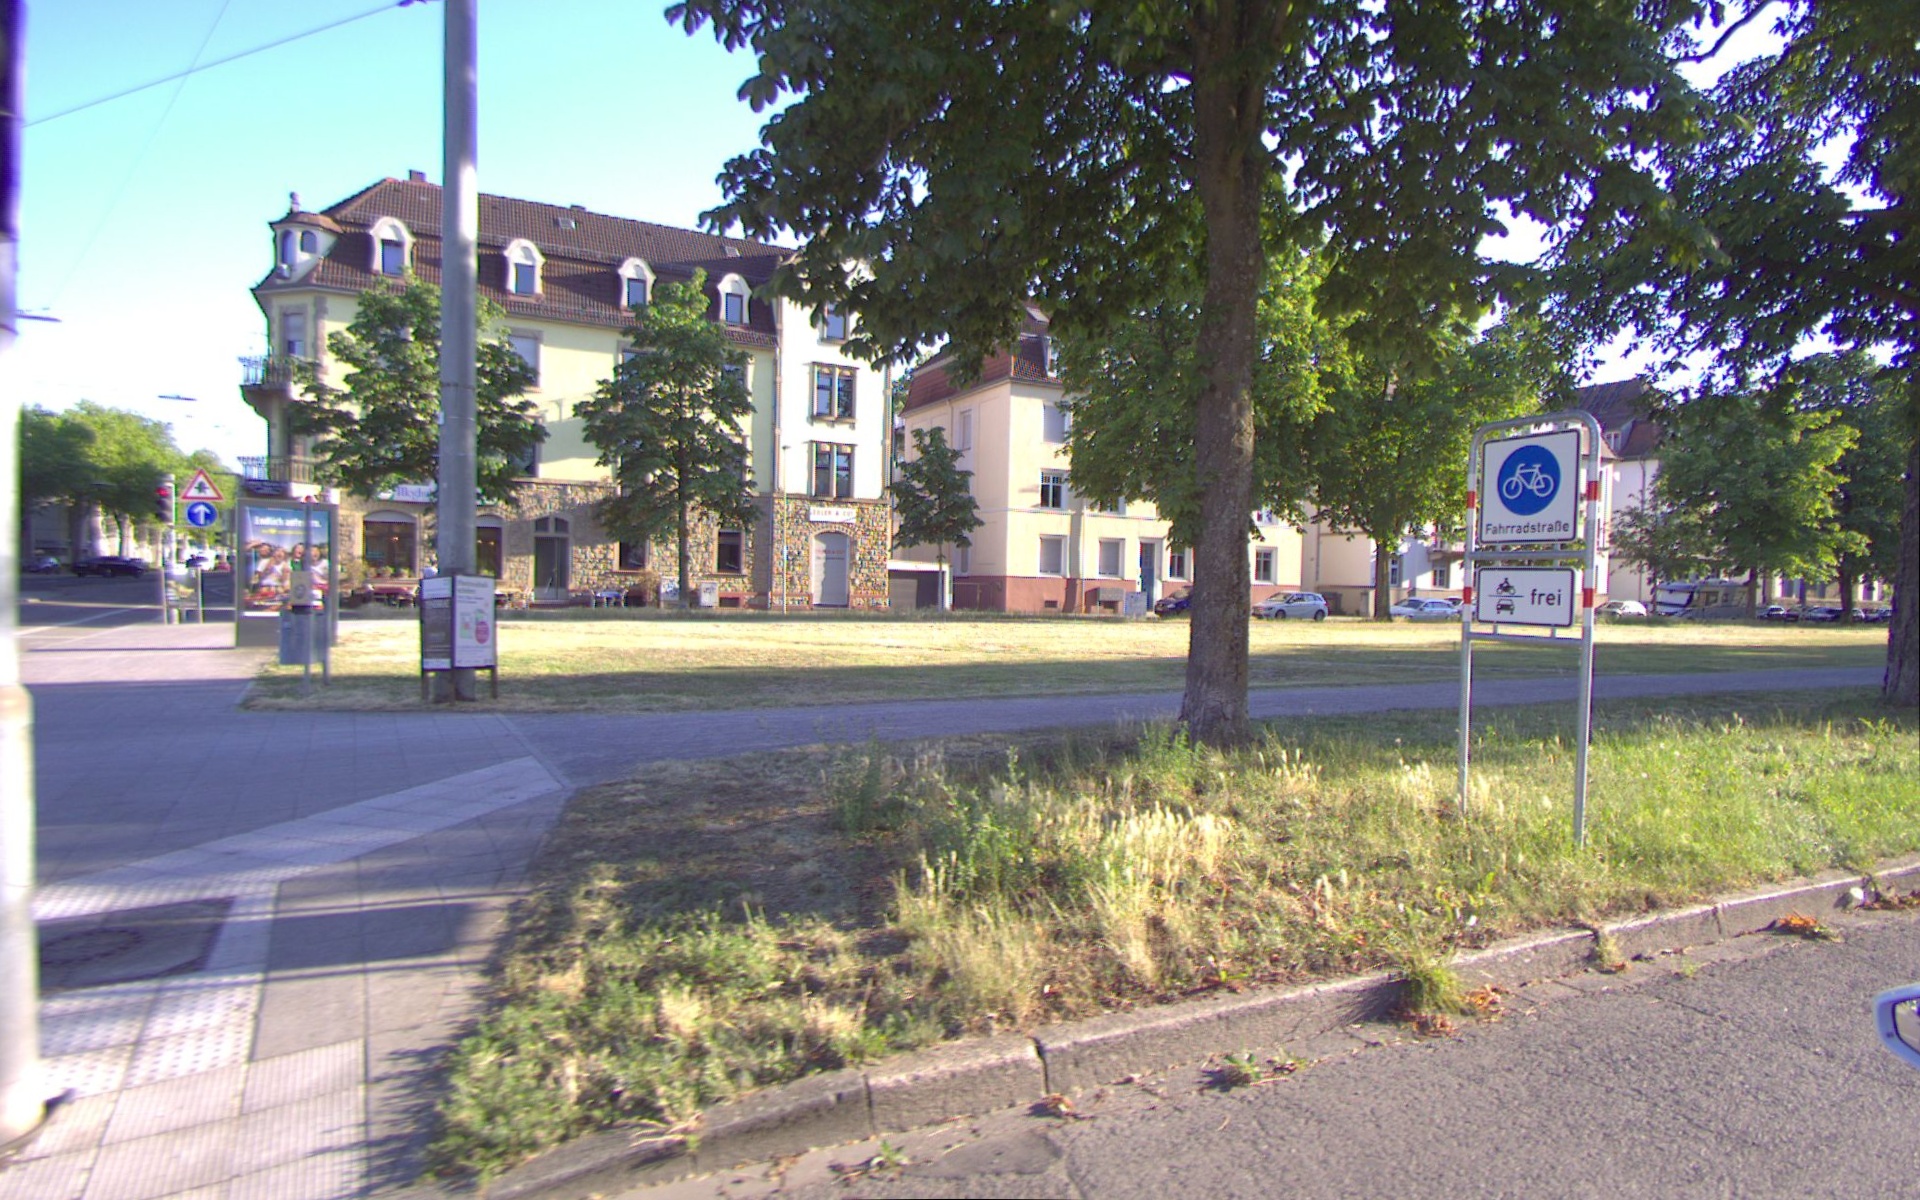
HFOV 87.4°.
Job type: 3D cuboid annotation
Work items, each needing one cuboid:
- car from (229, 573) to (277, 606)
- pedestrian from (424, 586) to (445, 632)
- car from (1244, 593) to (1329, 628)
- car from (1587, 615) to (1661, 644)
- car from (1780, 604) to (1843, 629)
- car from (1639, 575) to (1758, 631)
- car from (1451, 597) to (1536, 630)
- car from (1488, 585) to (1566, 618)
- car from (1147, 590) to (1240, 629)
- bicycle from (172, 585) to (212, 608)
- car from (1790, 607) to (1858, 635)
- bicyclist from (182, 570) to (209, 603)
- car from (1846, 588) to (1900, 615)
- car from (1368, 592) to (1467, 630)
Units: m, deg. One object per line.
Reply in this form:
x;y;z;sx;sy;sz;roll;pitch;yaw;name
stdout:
-43.317;-0.681;61.598;2.007;1.760;3.749;1;3;-29;car
-19.397;0.339;37.066;0.674;1.646;0.613;1;3;-28;pedestrian
17.504;0.578;53.851;3.946;1.681;1.987;1;3;-25;car
44.297;1.964;67.012;4.508;1.681;1.987;1;3;-25;car
65.488;1.252;77.258;4.315;1.681;1.987;1;3;-25;car
45.016;0.156;61.195;7.749;3.173;2.383;0;4;-26;car
27.959;0.665;52.618;4.364;1.575;1.788;0;4;-28;car
35.546;0.061;62.944;4.816;1.976;1.986;0;1;-28;car
11.890;0.477;51.217;4.253;1.759;1.987;1;3;-25;car
-40.741;-0.208;53.324;0.862;1.177;3.068;1;0;-21;bicycle
58.656;1.426;68.170;4.258;1.697;1.873;1;3;-26;car
-40.885;-0.713;53.725;0.862;1.746;1.143;1;0;-21;bicyclist
74.838;0.102;82.331;3.950;2.041;1.985;1;3;-28;car
22.829;0.528;50.165;4.508;1.681;1.987;1;3;-25;car
